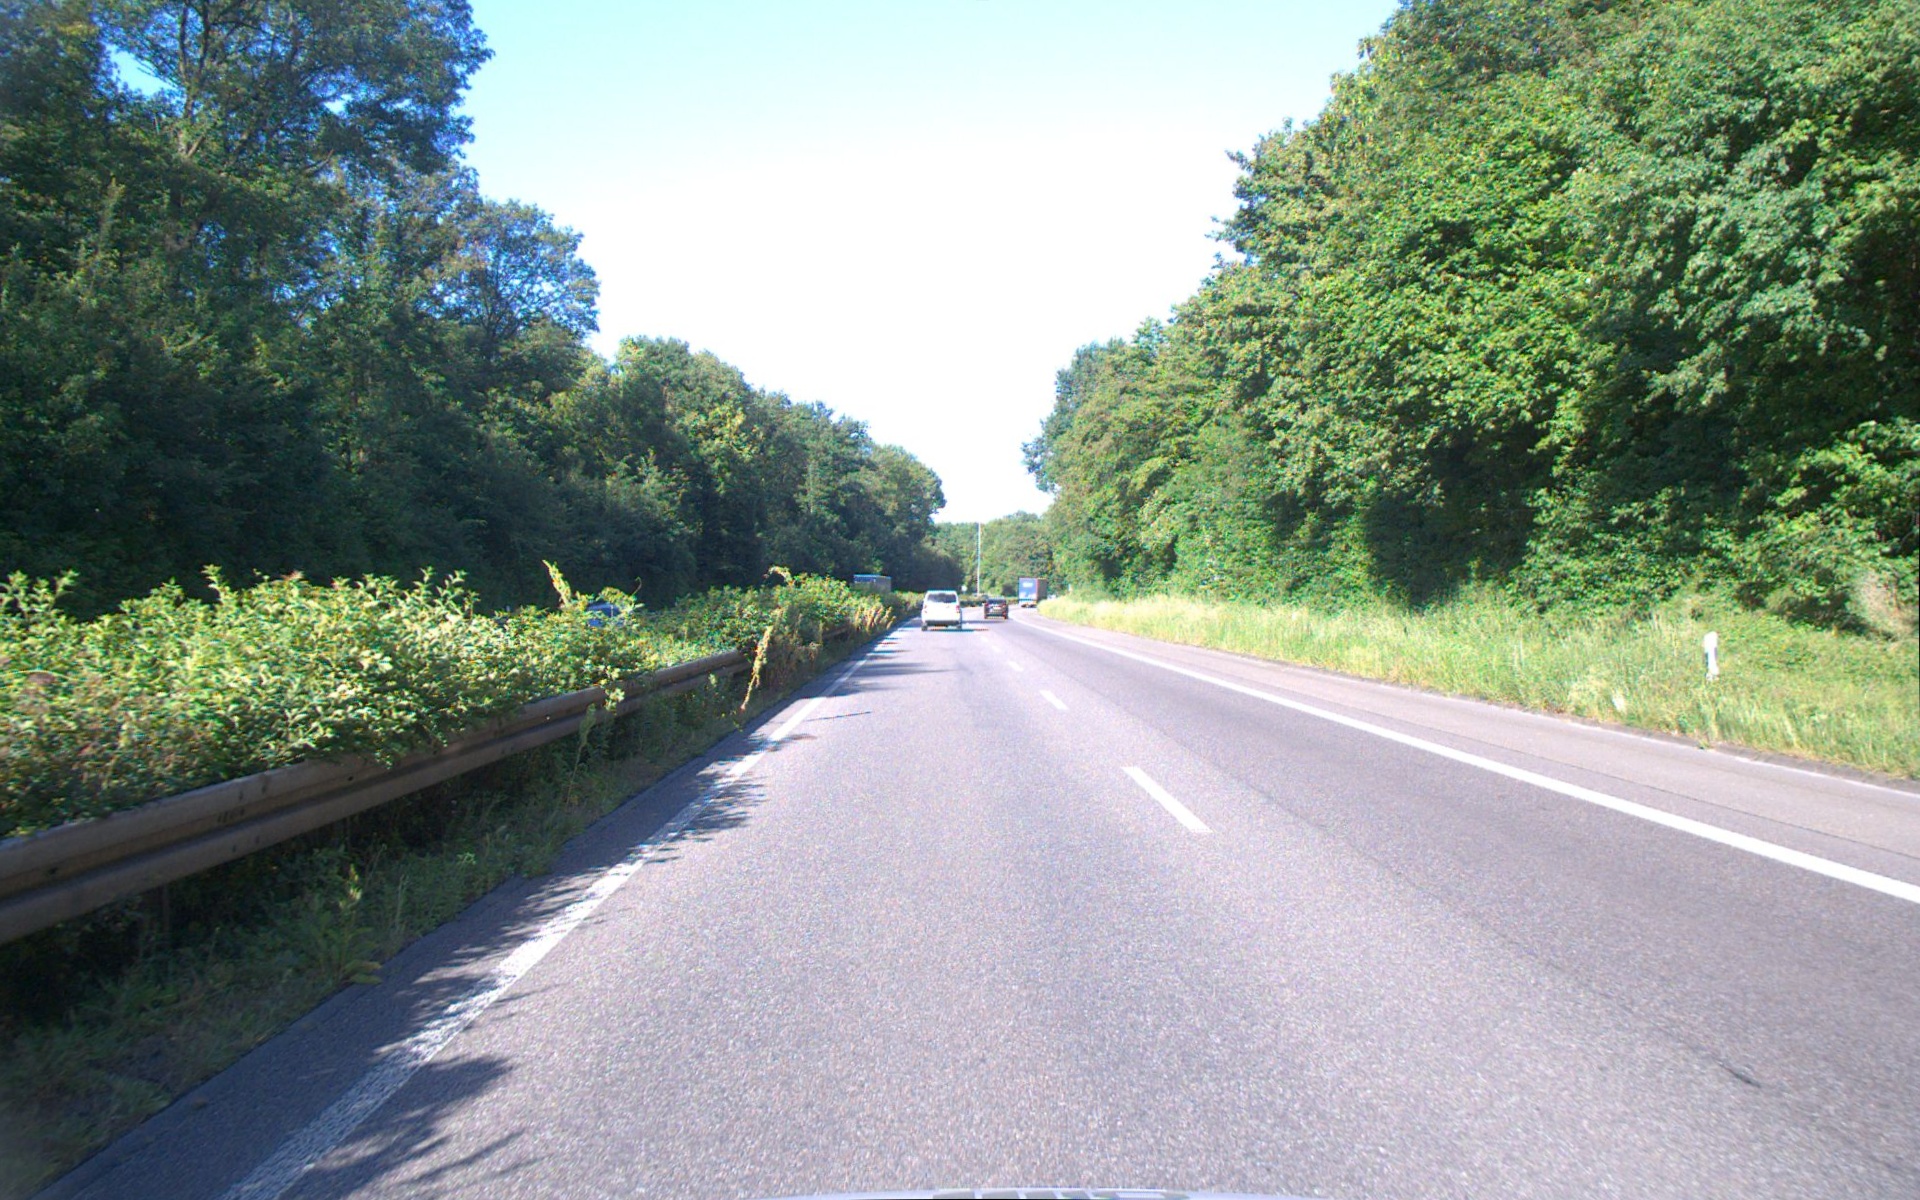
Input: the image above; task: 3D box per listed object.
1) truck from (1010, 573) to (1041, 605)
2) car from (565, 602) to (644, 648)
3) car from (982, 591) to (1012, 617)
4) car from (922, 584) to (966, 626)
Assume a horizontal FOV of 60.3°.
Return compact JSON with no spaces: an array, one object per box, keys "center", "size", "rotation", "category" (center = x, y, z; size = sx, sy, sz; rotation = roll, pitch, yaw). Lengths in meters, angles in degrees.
[{"center":[9.306,-1.509,232.670],"size":[3.655,4.419,9.310],"rotation":[1,0,6],"category":"truck"},{"center":[-12.152,0.818,56.810],"size":[1.953,1.475,4.337],"rotation":[0,0,-3],"category":"car"},{"center":[2.667,0.283,119.986],"size":[1.912,1.813,4.586],"rotation":[1,0,-1],"category":"car"},{"center":[-0.744,0.245,75.180],"size":[1.912,1.813,4.586],"rotation":[1,0,-1],"category":"car"}]
